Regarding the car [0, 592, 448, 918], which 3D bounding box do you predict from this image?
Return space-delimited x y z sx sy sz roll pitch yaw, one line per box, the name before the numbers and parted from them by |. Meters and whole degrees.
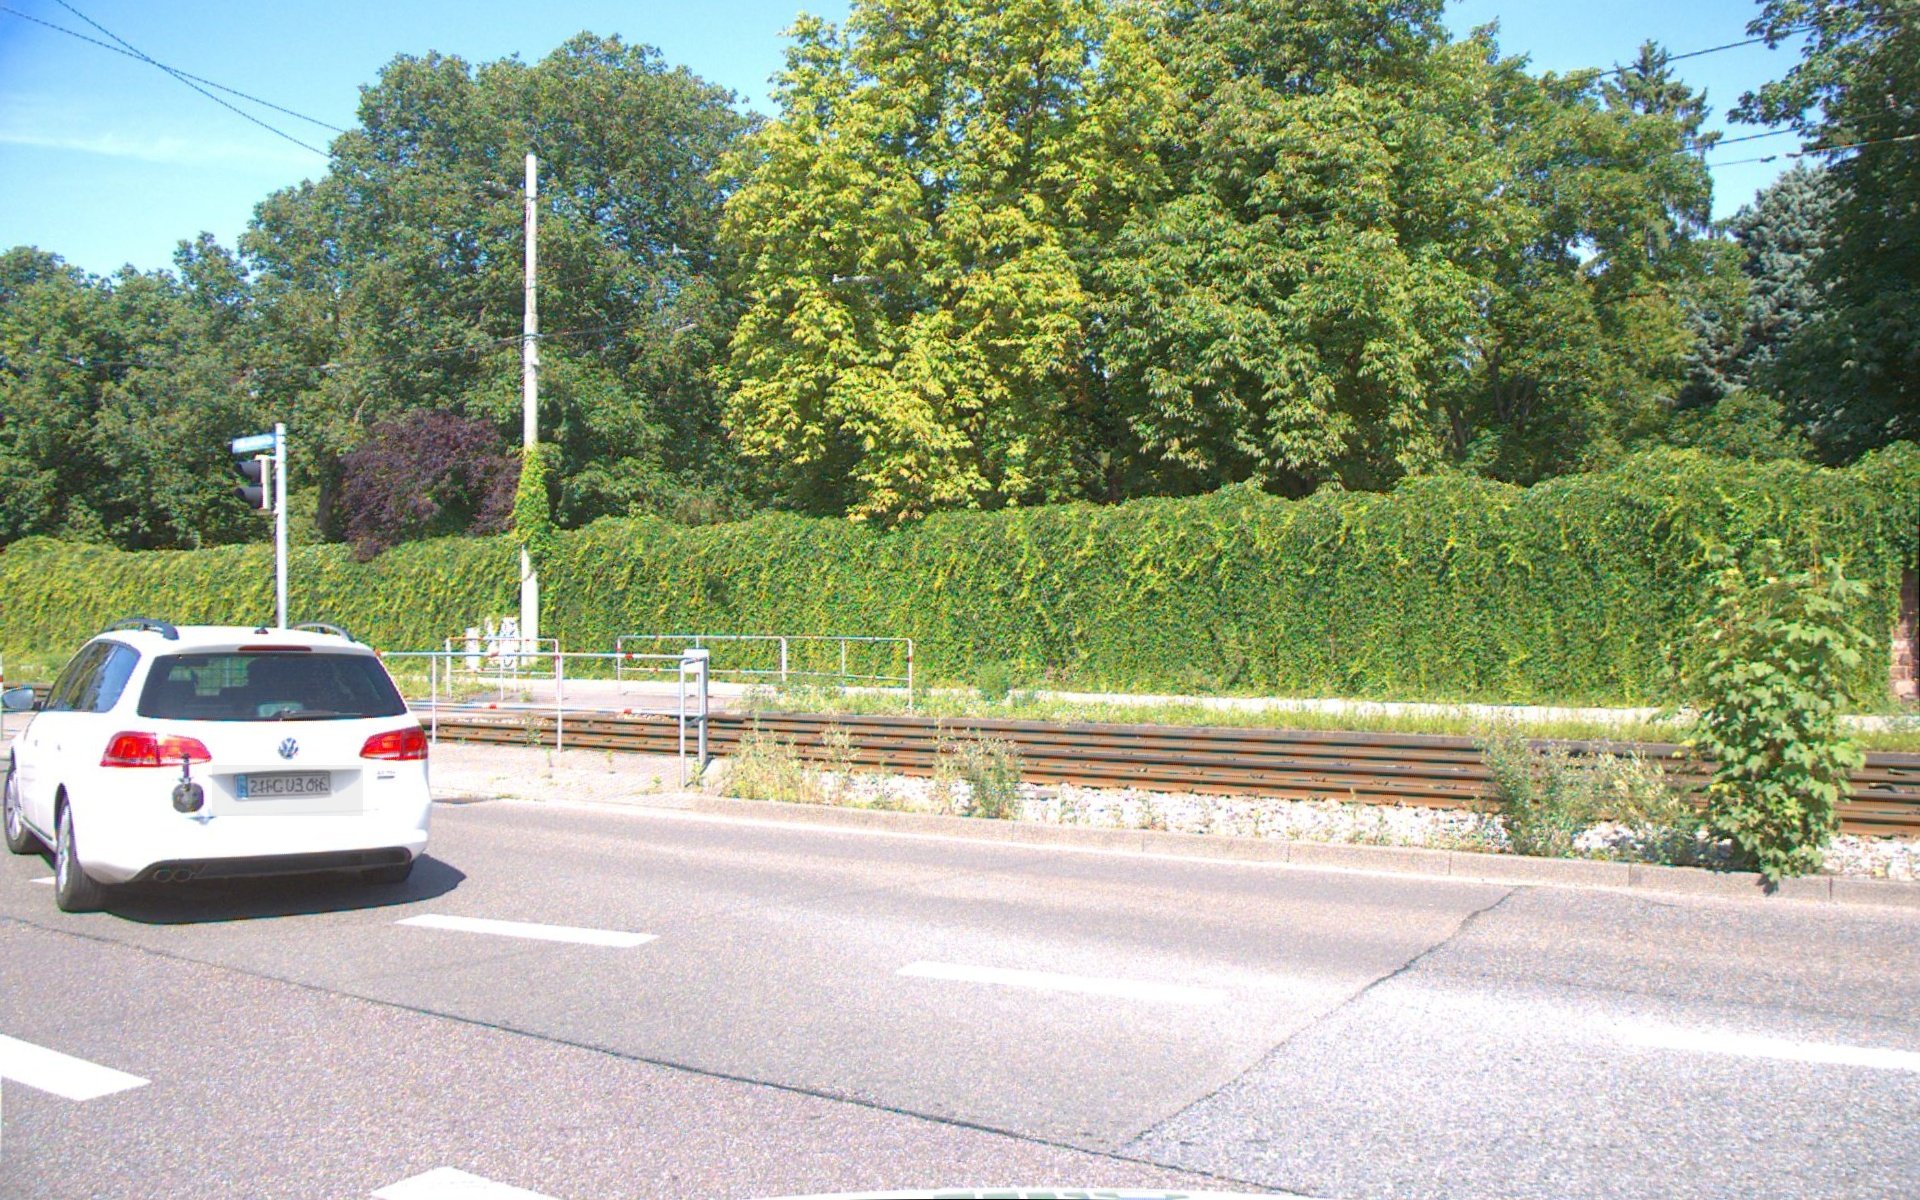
car | -4.551 0.769 9.816 1.677 1.477 4.404 1 -2 -35
